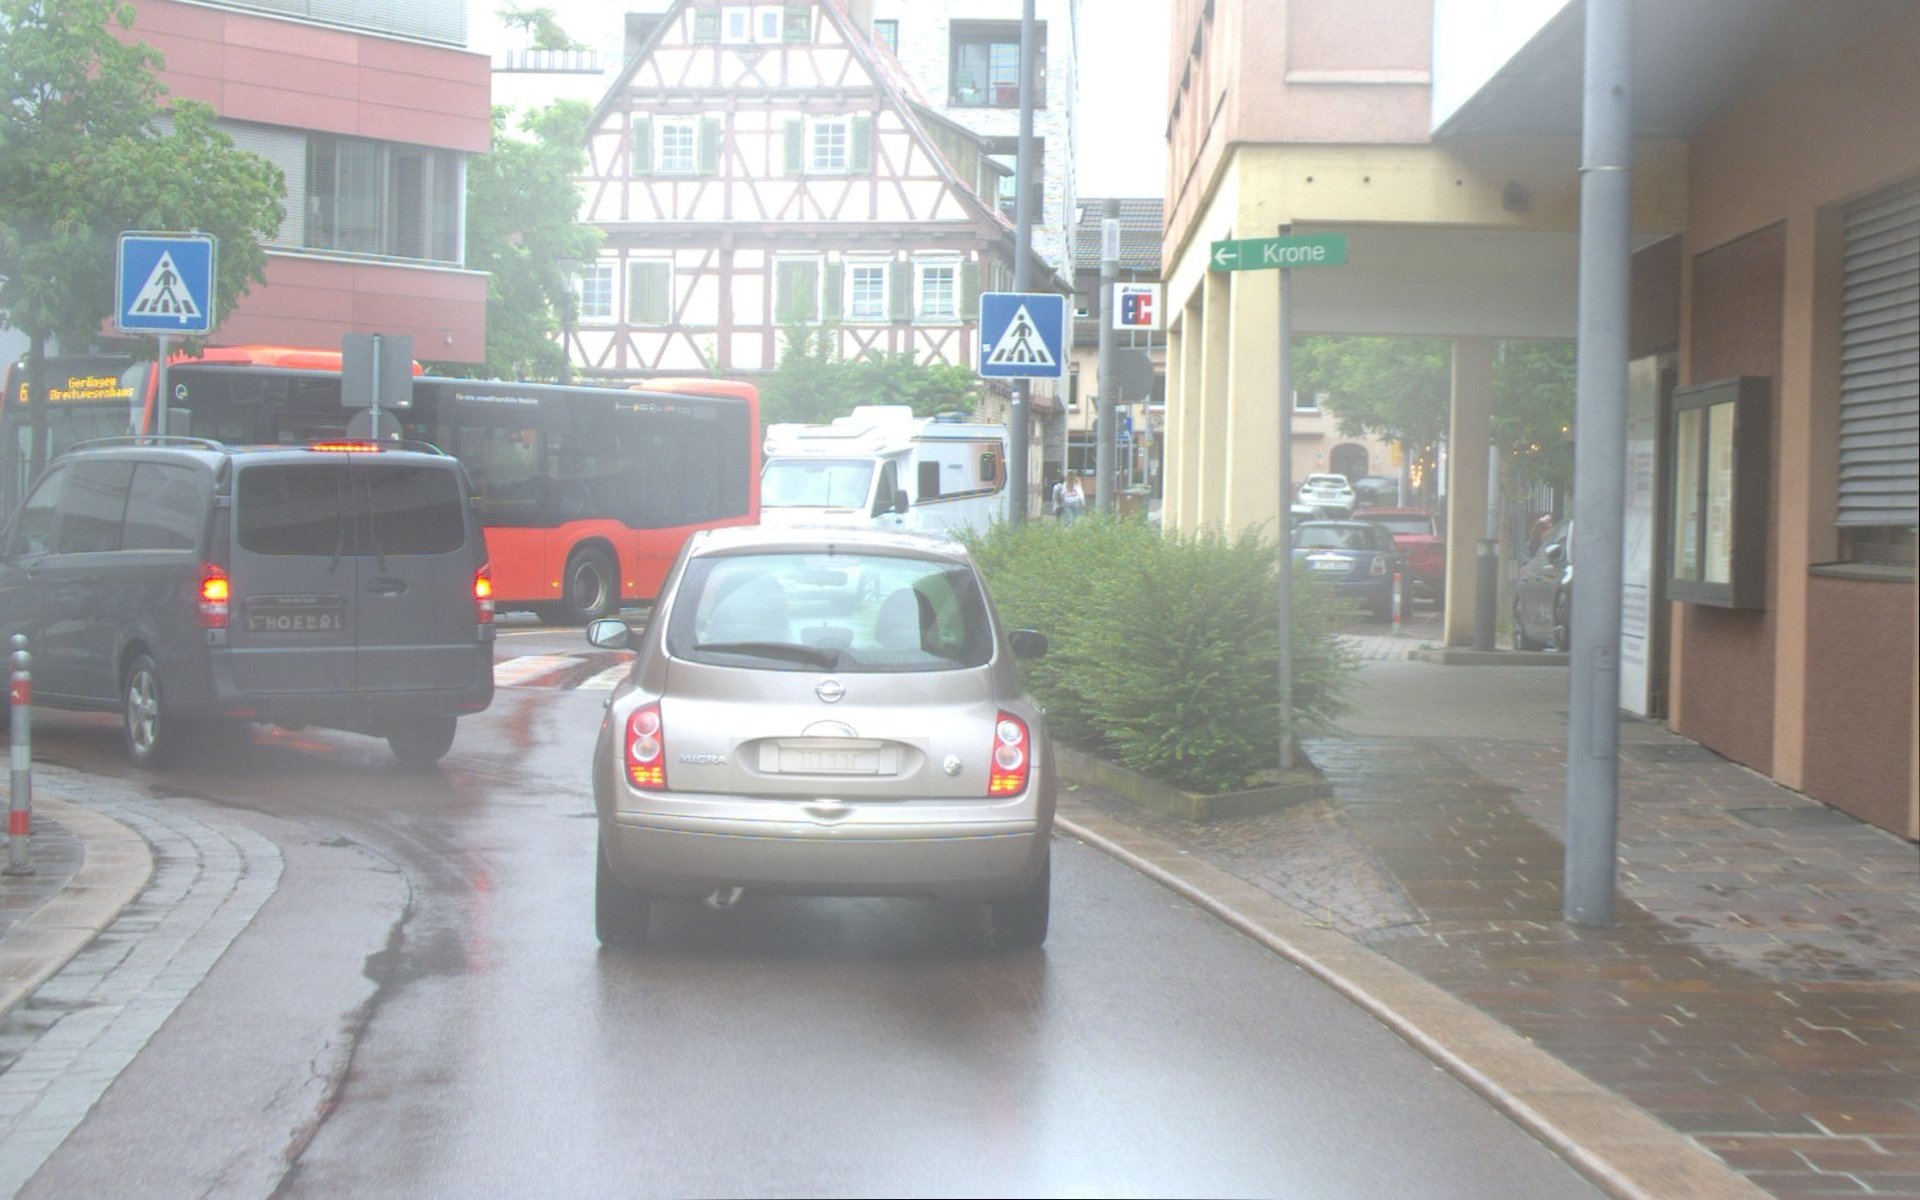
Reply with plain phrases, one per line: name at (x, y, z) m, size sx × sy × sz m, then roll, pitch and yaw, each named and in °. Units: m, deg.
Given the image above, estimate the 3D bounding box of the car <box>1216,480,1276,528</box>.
car at (9.310, -3.130, 112.168) m, size 1.897 × 1.503 × 3.909 m, roll 1°, pitch 1°, yaw 4°

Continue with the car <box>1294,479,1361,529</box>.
car at (11.359, -2.962, 106.444) m, size 1.897 × 1.503 × 3.909 m, roll 1°, pitch 1°, yaw 4°

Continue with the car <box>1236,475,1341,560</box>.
car at (6.314, -1.590, 66.495) m, size 1.897 × 1.568 × 4.000 m, roll 1°, pitch 1°, yaw 4°

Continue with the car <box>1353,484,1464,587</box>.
car at (6.986, -1.022, 53.613) m, size 1.624 × 1.495 × 3.999 m, roll -1°, pitch 1°, yaw 7°

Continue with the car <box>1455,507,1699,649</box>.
car at (5.942, -0.251, 33.544) m, size 1.763 × 1.271 × 4.471 m, roll 1°, pitch 1°, yaw 3°

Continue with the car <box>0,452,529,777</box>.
car at (-4.618, 0.035, 21.300) m, size 1.947 × 1.775 × 4.726 m, roll 0°, pitch 1°, yaw -34°

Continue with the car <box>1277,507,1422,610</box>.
car at (5.536, -0.612, 48.591) m, size 1.538 × 1.357 × 3.371 m, roll 2°, pitch 2°, yaw 14°

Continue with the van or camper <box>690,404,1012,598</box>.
van or camper at (-1.461, -1.417, 50.189) m, size 2.440 × 2.576 × 6.745 m, roll 2°, pitch 2°, yaw 19°

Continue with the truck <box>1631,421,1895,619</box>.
truck at (7.805, -0.786, 33.749) m, size 1.763 × 1.802 × 4.000 m, roll 1°, pitch 1°, yaw 2°

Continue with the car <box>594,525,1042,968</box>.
car at (-0.622, 0.473, 13.483) m, size 1.522 × 1.465 × 3.342 m, roll 1°, pitch 2°, yaw -5°

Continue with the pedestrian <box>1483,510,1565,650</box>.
pedestrian at (6.821, -0.249, 41.582) m, size 0.697 × 1.655 × 0.819 m, roll 2°, pitch 1°, yaw 32°

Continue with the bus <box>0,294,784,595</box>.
bus at (-6.483, -1.743, 40.337) m, size 2.819 × 3.077 × 10.586 m, roll 4°, pitch 3°, yaw 35°
